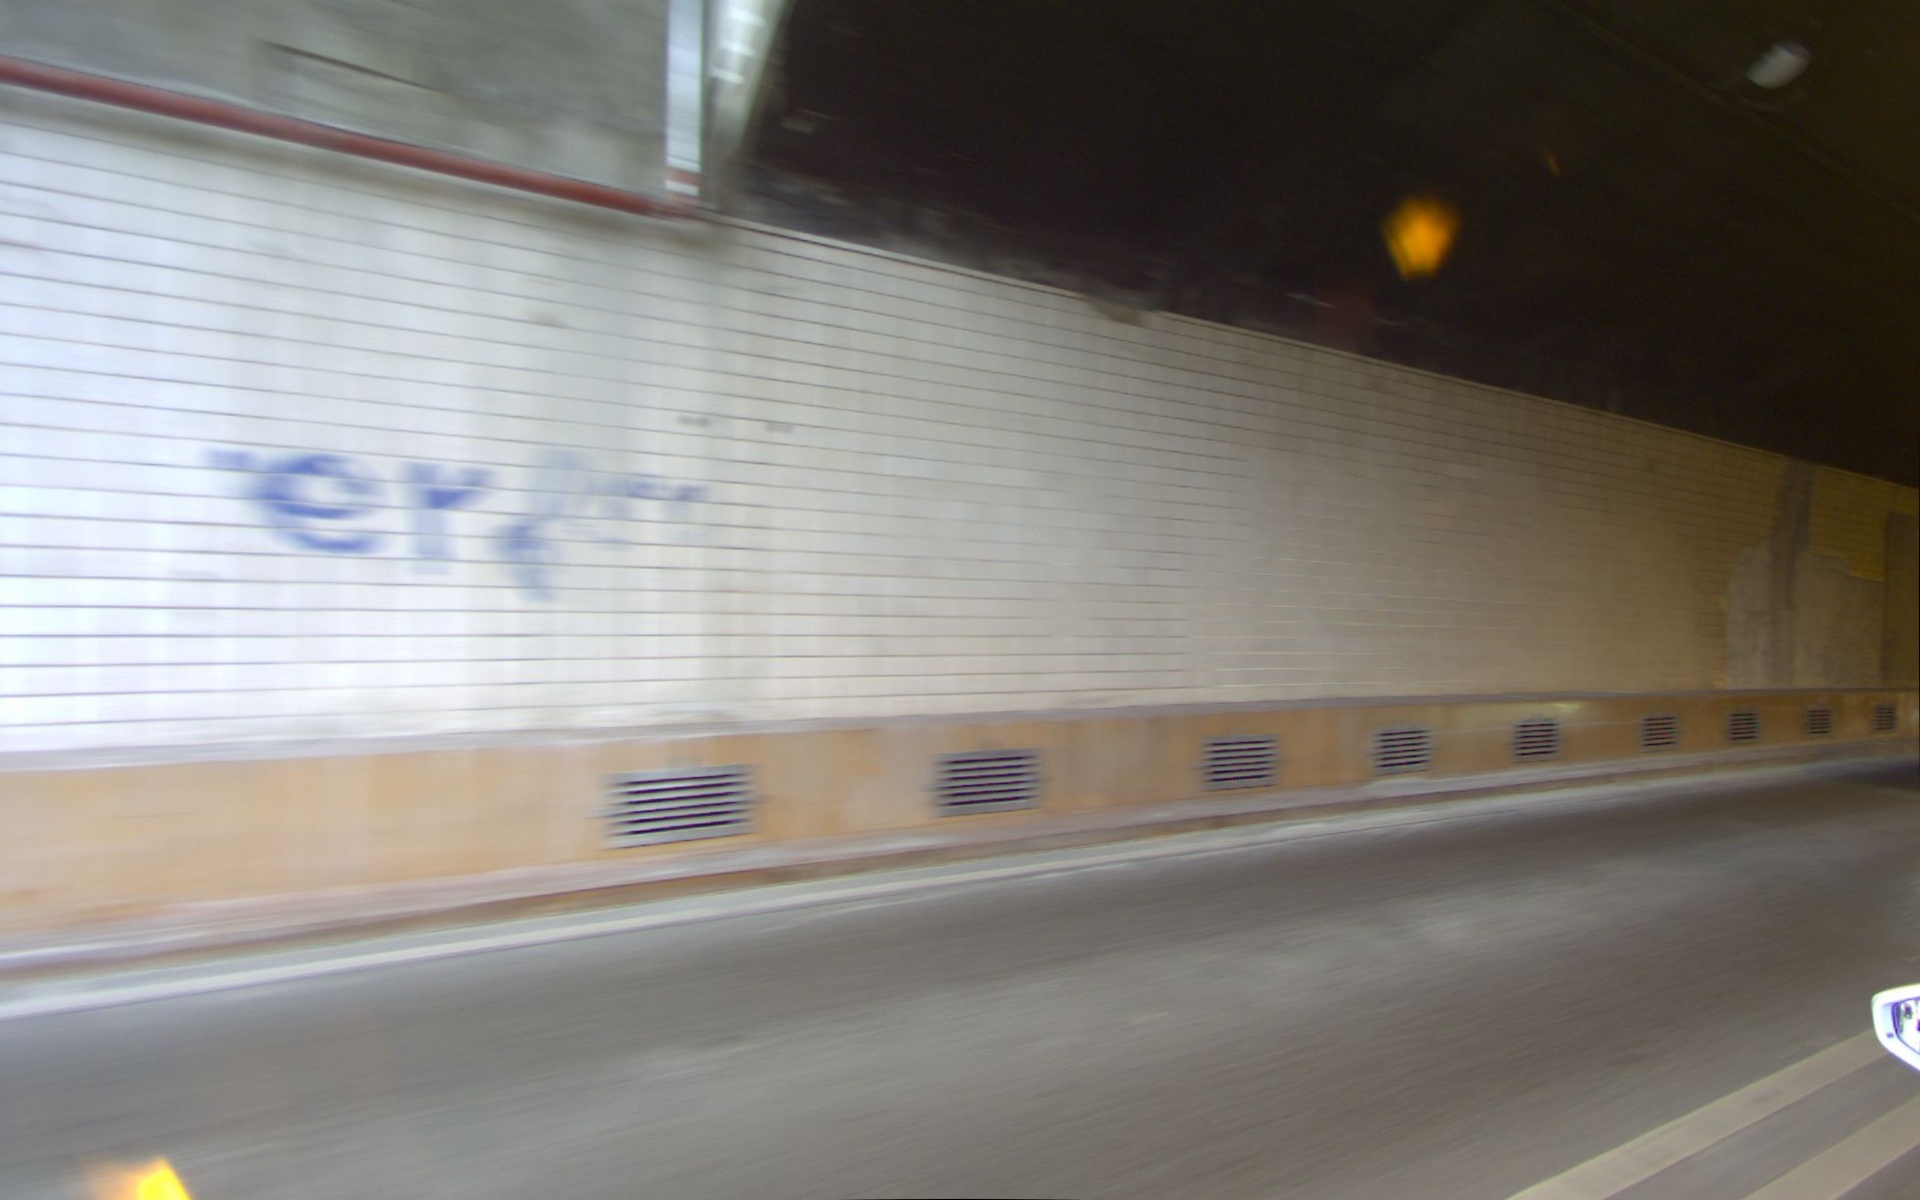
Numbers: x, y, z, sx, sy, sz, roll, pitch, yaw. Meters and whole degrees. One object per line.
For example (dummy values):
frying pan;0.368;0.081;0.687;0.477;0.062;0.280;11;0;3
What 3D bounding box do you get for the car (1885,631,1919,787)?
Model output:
car;11.380;1.142;10.109;4.111;1.488;1.884;3;-1;-30
